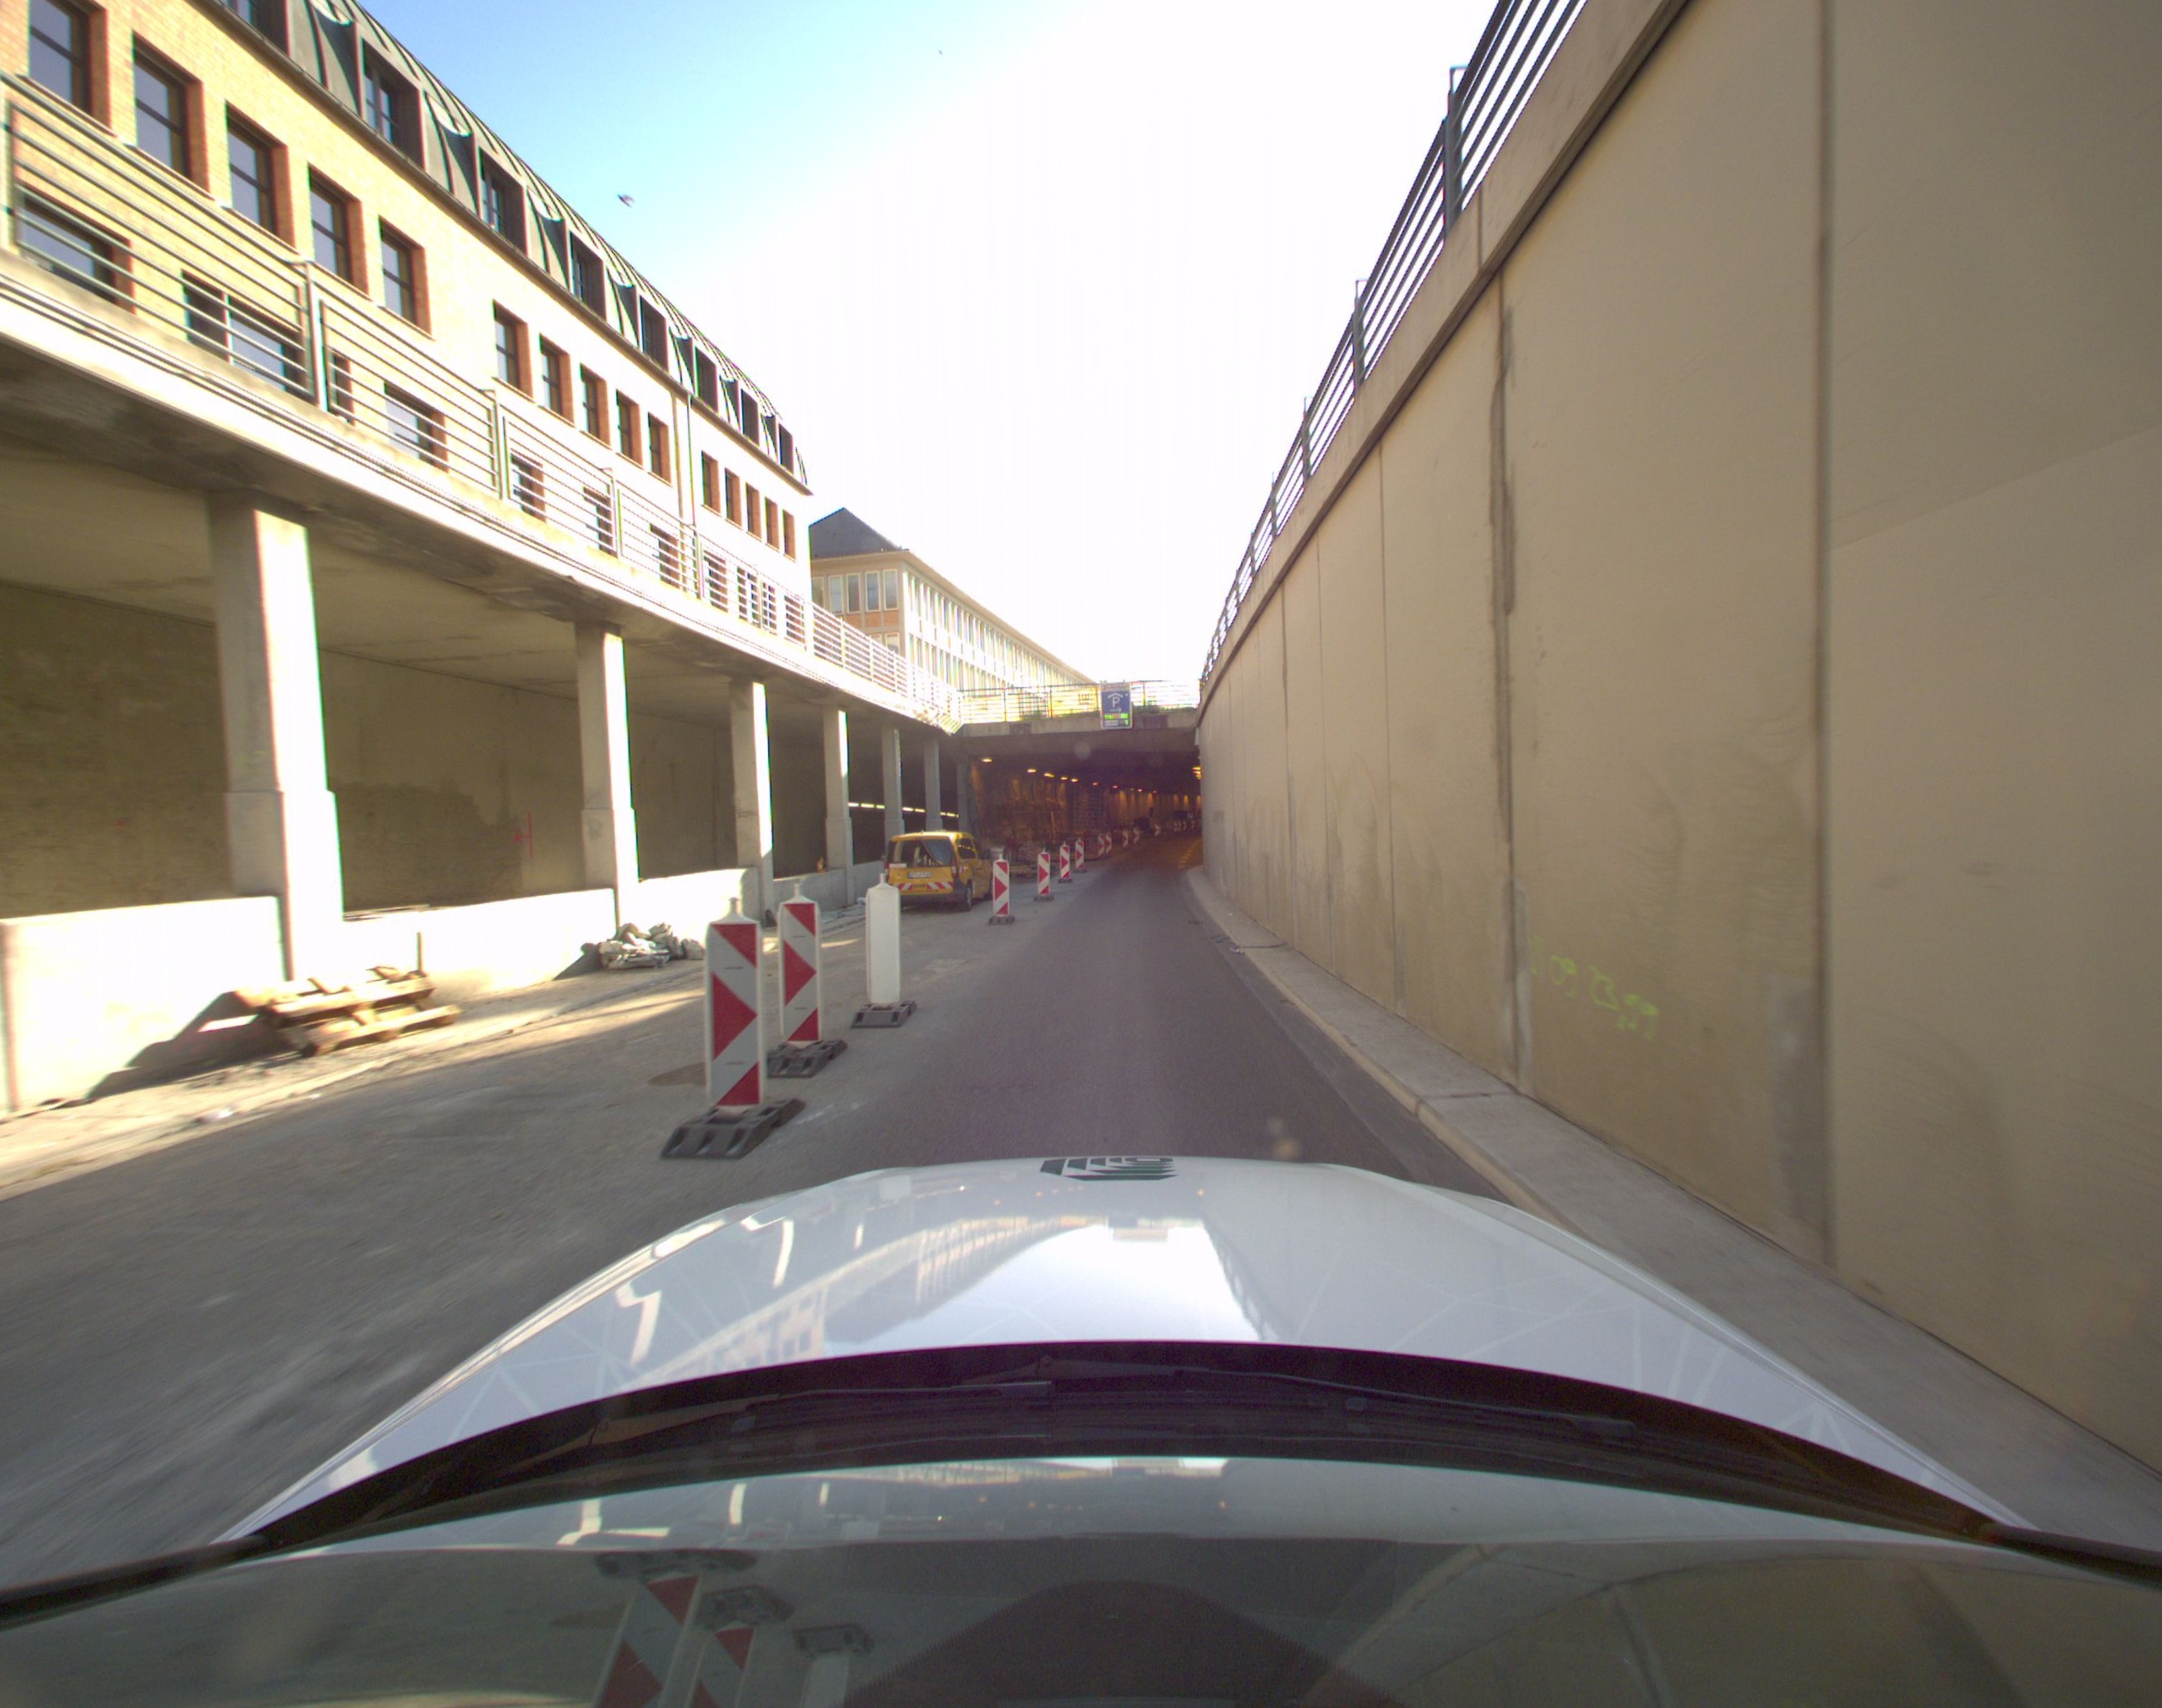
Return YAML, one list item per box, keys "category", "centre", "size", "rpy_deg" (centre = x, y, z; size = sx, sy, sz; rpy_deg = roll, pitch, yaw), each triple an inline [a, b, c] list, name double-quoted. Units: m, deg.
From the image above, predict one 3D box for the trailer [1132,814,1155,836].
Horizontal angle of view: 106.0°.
- category: "trailer"
  centre: [5.335, -2.473, 69.668]
  size: [1.570, 1.797, 2.949]
  rpy_deg: [0, 3, 11]

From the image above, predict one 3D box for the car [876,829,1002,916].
- category: "car"
  centre: [-3.230, 0.319, 19.444]
  size: [1.839, 1.775, 4.441]
  rpy_deg: [-1, 2, 5]
